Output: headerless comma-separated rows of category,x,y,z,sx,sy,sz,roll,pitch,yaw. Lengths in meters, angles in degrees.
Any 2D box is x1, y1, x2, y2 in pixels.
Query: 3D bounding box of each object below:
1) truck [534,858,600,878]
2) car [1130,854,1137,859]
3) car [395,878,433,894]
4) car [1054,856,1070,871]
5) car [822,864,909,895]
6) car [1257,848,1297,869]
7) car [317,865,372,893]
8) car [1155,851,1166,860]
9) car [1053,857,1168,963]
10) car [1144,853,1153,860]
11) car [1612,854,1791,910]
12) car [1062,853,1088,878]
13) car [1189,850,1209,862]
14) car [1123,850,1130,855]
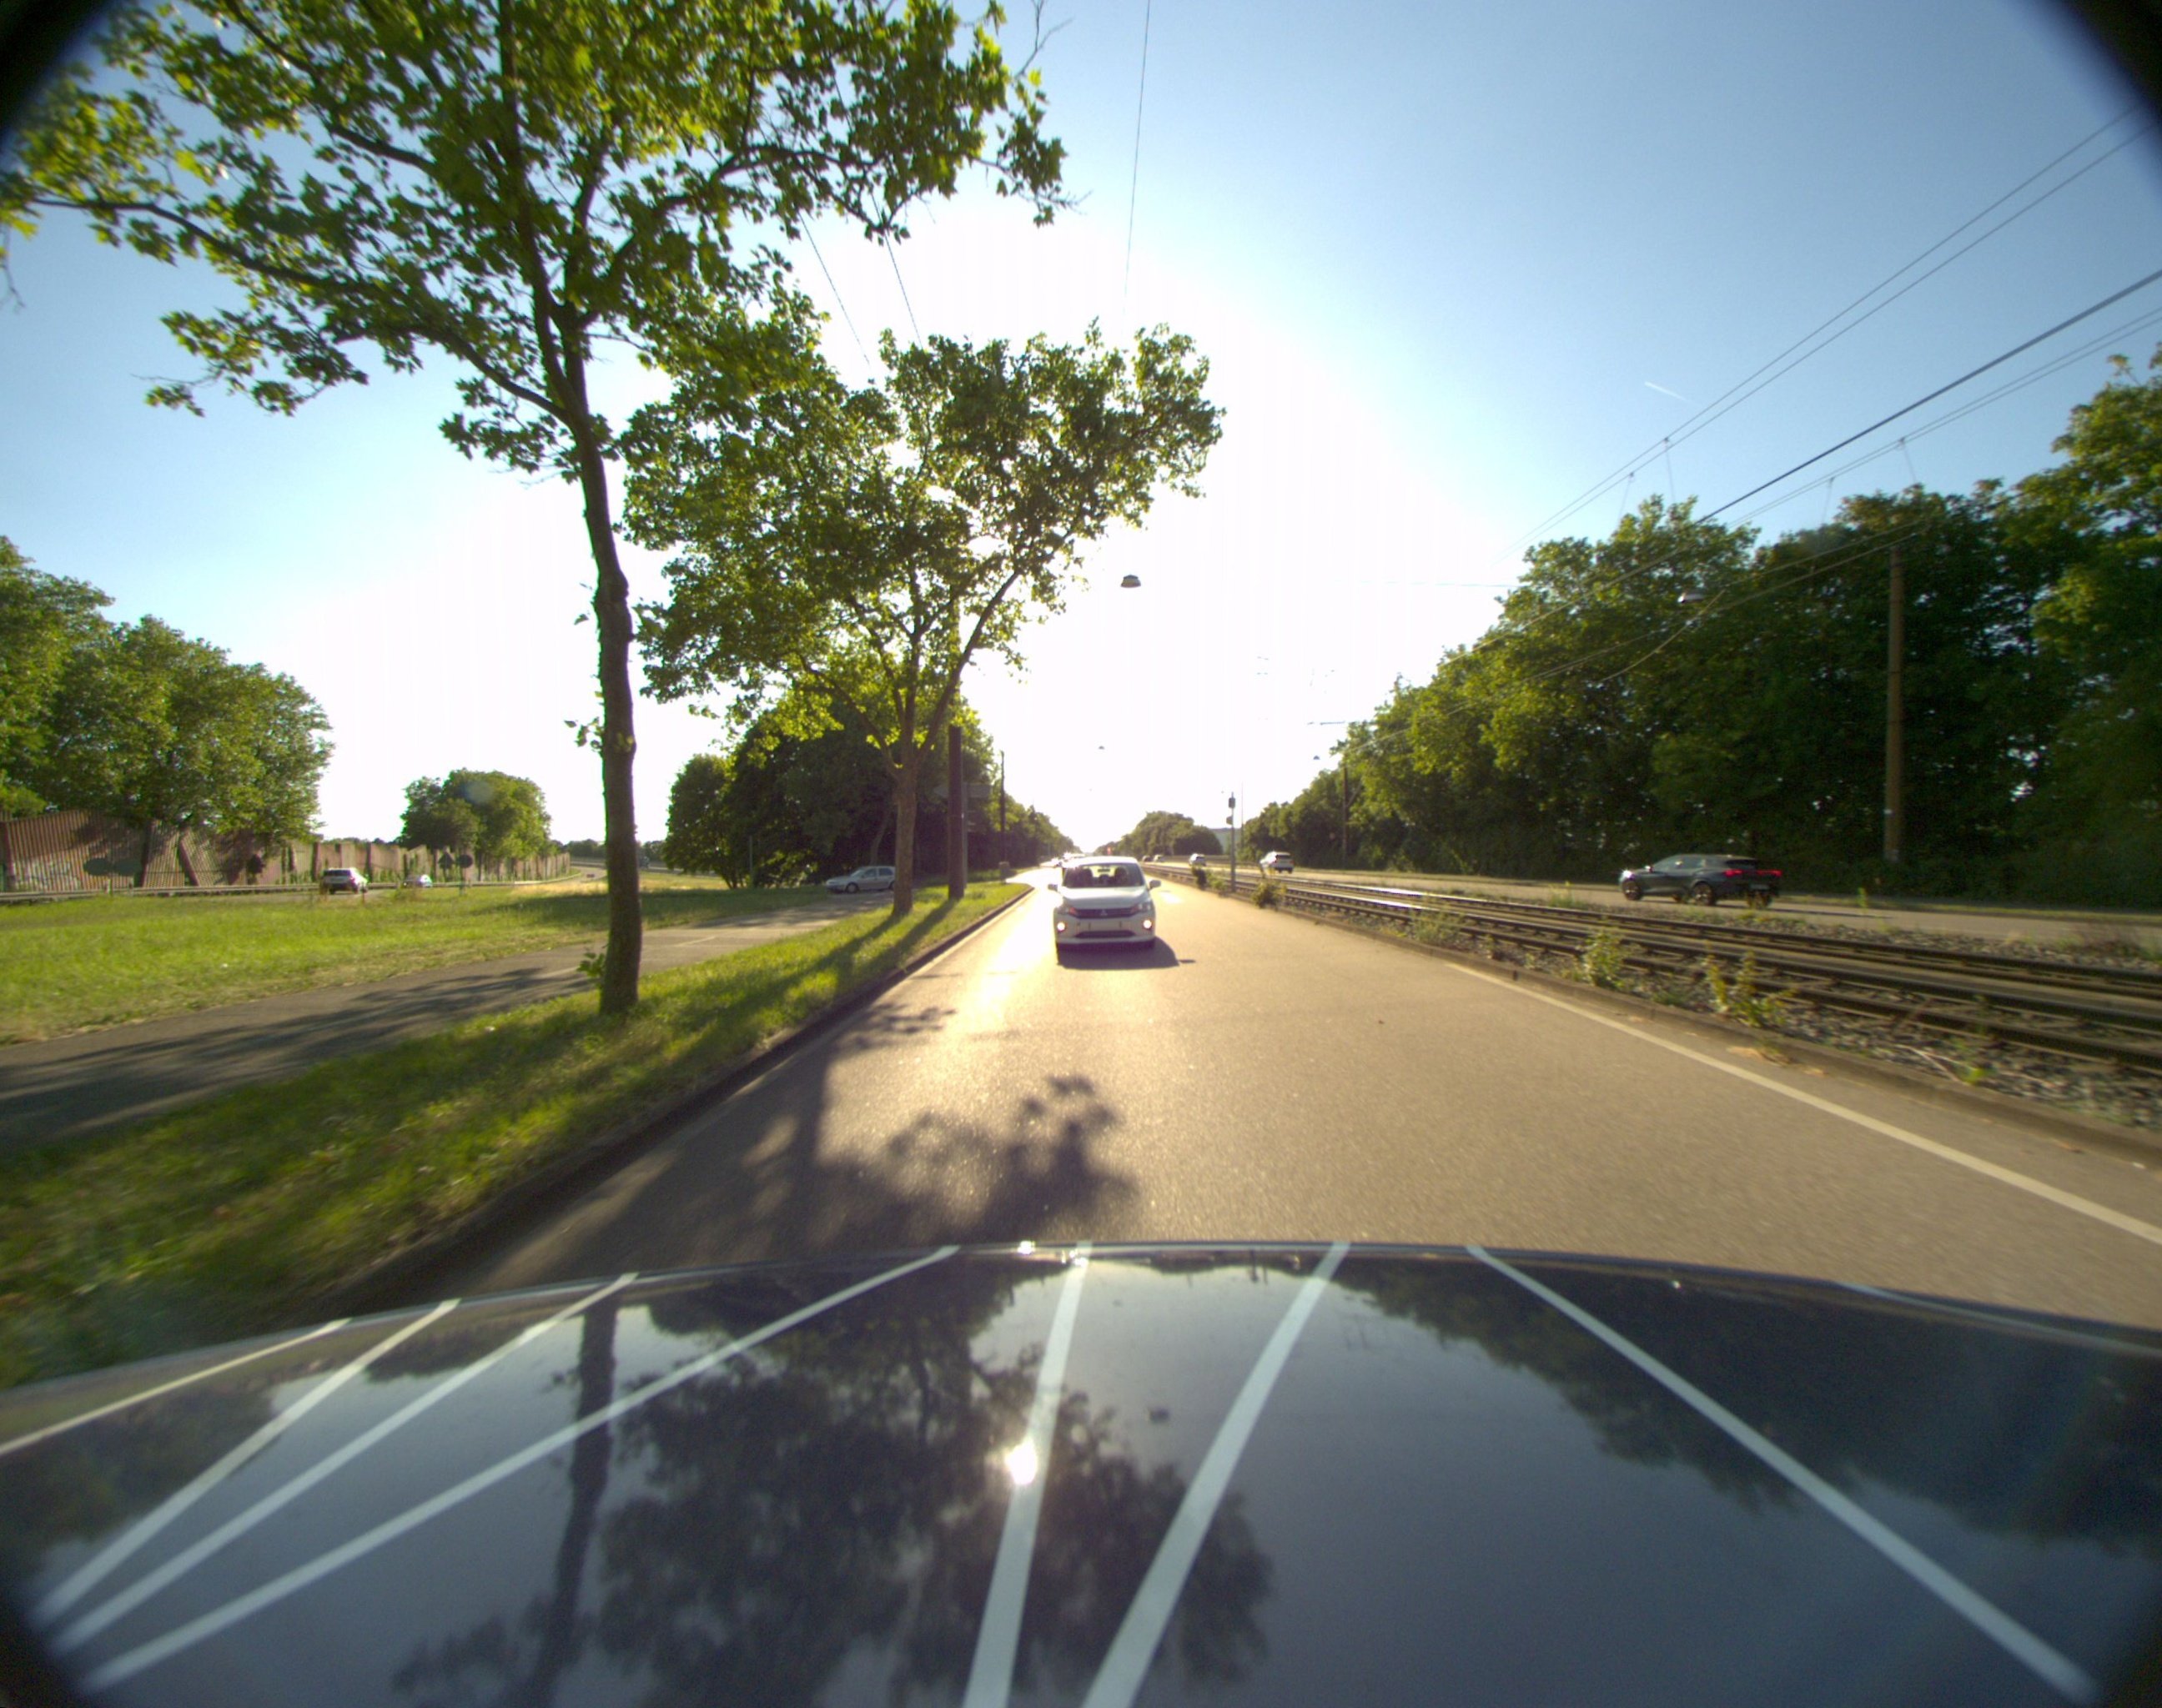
truck,-102.822,2.794,152.169,10.628,3.474,2.645,3,-1,-29
car,15.268,0.685,220.989,1.759,1.406,4.876,2,1,-2
car,-68.769,3.311,78.433,1.801,1.432,4.215,-2,1,-25
car,-2.482,1.237,98.150,1.886,1.790,3.644,-2,0,-2
car,-11.505,1.328,40.749,4.143,1.409,1.690,-2,1,-42
car,17.119,0.340,66.638,1.968,1.697,4.942,1,1,-3
car,-49.143,1.628,50.786,1.818,1.762,3.853,-2,1,-32
car,16.029,0.291,154.062,1.696,1.547,4.190,1,1,-1
car,0.465,0.859,13.451,1.709,1.503,3.862,-2,1,0
car,15.494,0.533,173.801,1.661,1.424,4.501,2,1,0
car,18.431,0.765,22.881,1.715,1.459,4.346,2,0,-2
car,-0.377,0.735,51.306,1.709,1.512,3.844,-2,1,0
car,16.950,0.268,109.131,1.851,1.724,4.930,2,1,-2
car,14.899,-0.488,249.446,1.713,1.571,4.800,0,1,-1
